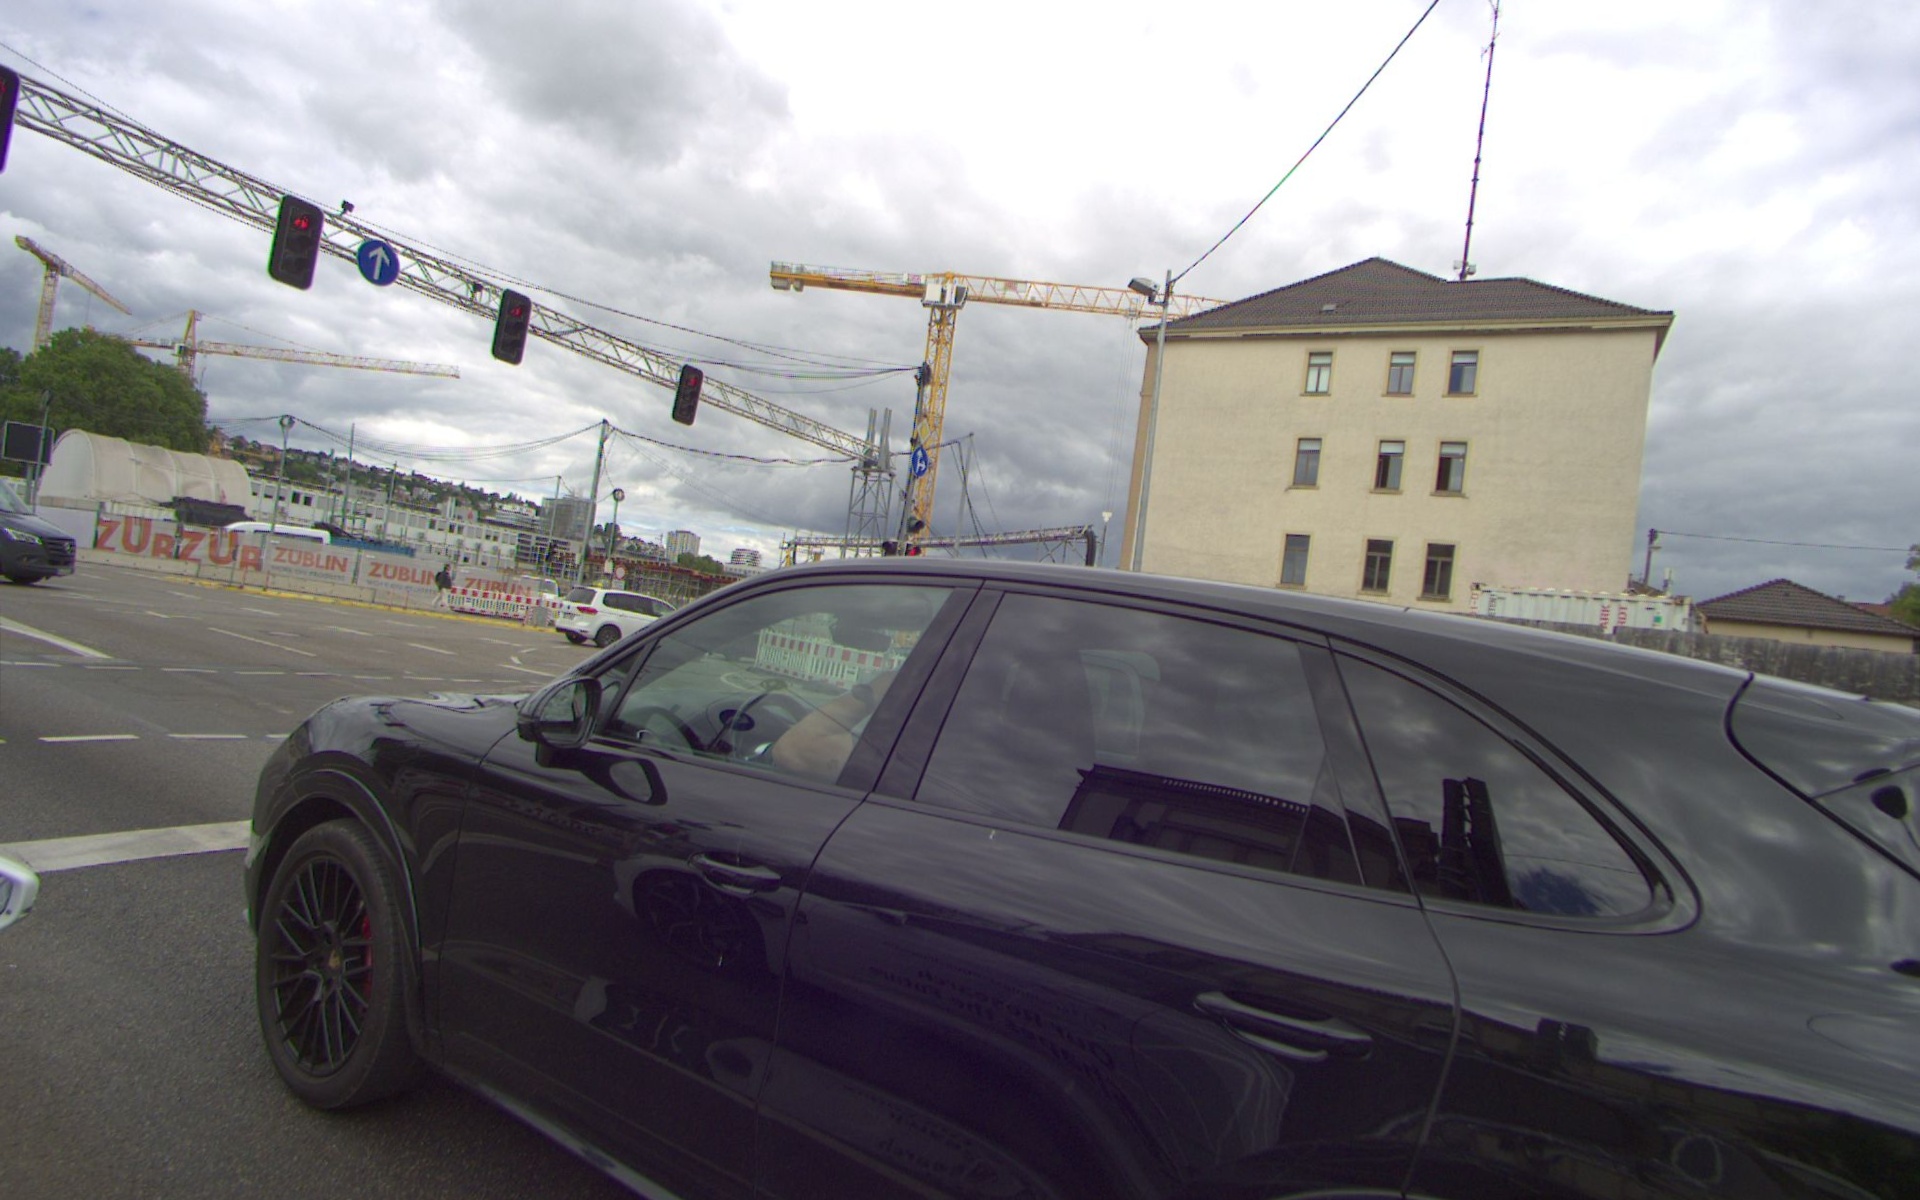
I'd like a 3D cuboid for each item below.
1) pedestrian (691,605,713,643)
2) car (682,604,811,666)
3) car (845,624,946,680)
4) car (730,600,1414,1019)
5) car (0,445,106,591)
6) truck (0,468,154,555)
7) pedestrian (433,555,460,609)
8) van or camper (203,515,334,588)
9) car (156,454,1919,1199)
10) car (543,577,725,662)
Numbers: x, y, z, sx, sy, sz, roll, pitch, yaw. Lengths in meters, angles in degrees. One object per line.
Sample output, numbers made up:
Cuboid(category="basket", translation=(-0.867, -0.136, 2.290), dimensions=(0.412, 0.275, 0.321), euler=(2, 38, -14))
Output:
Cuboid(category="pedestrian", translation=(-13.112, 1.230, 51.168), dimensions=(0.607, 1.816, 0.654), euler=(7, -1, 23))
Cuboid(category="car", translation=(-7.915, 1.352, 37.720), dimensions=(1.854, 1.689, 4.603), euler=(7, -3, 33))
Cuboid(category="car", translation=(-2.458, 2.046, 39.241), dimensions=(1.770, 1.687, 4.062), euler=(7, -3, 31))
Cuboid(category="car", translation=(0.602, 1.058, 6.378), dimensions=(3.818, 1.561, 1.667), euler=(7, -2, 33))
Cuboid(category="car", translation=(-20.483, -1.936, 19.066), dimensions=(5.930, 2.623, 2.056), euler=(9, -2, -19))
Cuboid(category="truck", translation=(-57.899, -5.801, 61.923), dimensions=(3.875, 4.086, 13.089), euler=(8, -2, 12))
Cuboid(category="pedestrian", translation=(-20.092, -0.716, 39.347), dimensions=(0.647, 2.037, 0.513), euler=(8, -1, -33))
Cuboid(category="van or camper", translation=(-29.807, -2.071, 43.410), dimensions=(4.204, 2.384, 1.976), euler=(10, -3, -44))
Cuboid(category="car", translation=(0.047, 0.730, 2.702), dimensions=(4.559, 1.705, 1.959), euler=(7, -2, 33))
Cuboid(category="car", translation=(-9.151, 0.606, 28.537), dimensions=(1.858, 1.755, 4.429), euler=(7, -3, 41))
